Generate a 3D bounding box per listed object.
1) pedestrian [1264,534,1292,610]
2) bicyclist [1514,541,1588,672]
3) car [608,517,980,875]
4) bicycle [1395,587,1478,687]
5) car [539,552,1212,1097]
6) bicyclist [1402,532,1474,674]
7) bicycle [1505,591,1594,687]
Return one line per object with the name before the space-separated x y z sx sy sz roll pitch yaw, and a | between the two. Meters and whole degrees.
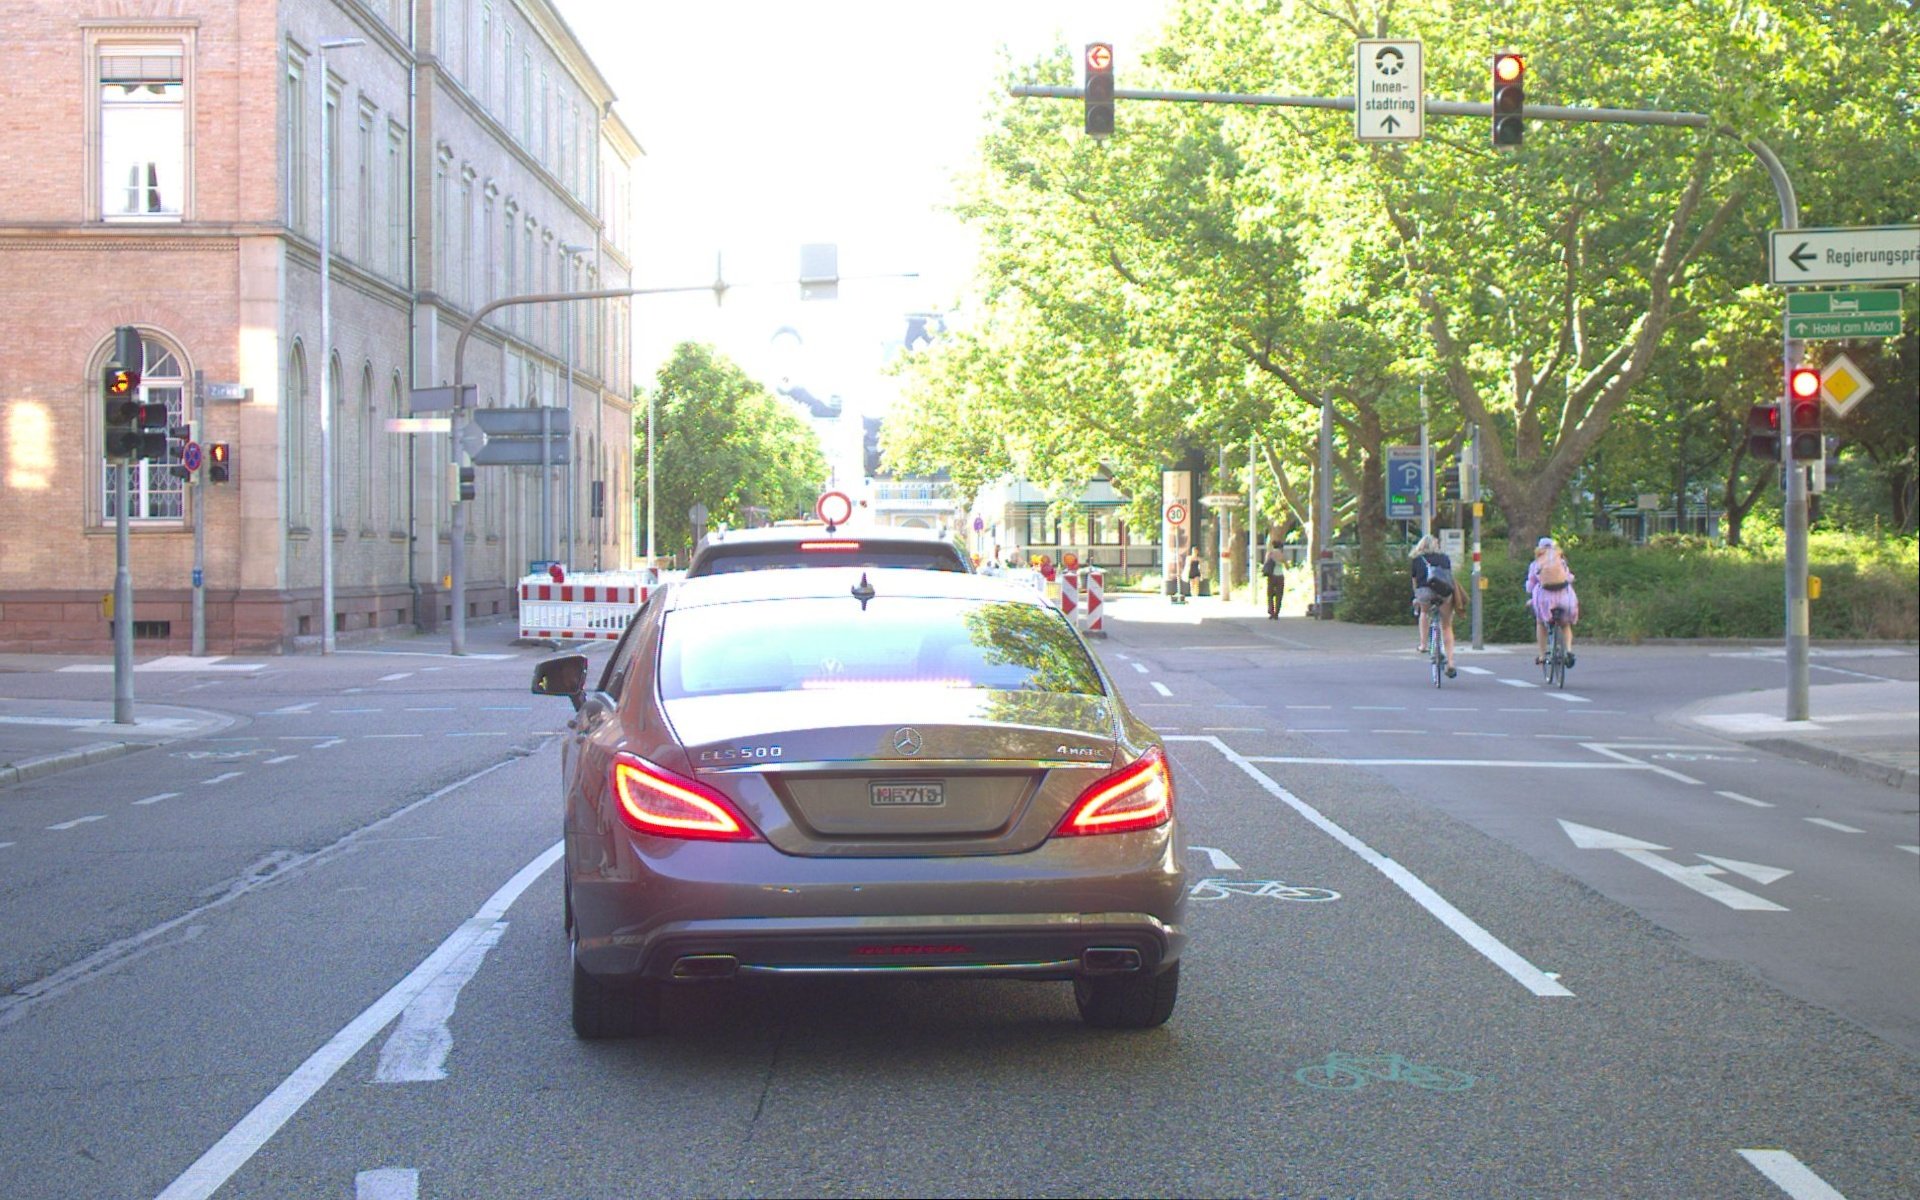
pedestrian | 6.996 -0.612 75.722 0.559 1.672 0.565 0 1 -1
bicyclist | 6.454 0.062 37.575 0.600 1.397 0.931 2 1 -1
car | -0.812 0.409 17.487 1.681 1.619 3.841 0 1 -2
bicycle | 5.178 0.390 37.446 0.610 1.023 1.731 2 1 -1
car | -0.485 0.576 11.560 1.821 1.471 4.354 0 1 -7
bicyclist | 5.194 0.022 37.383 0.610 1.511 0.890 2 1 -1
bicycle | 6.441 0.413 37.632 0.600 0.981 1.881 2 1 -1
